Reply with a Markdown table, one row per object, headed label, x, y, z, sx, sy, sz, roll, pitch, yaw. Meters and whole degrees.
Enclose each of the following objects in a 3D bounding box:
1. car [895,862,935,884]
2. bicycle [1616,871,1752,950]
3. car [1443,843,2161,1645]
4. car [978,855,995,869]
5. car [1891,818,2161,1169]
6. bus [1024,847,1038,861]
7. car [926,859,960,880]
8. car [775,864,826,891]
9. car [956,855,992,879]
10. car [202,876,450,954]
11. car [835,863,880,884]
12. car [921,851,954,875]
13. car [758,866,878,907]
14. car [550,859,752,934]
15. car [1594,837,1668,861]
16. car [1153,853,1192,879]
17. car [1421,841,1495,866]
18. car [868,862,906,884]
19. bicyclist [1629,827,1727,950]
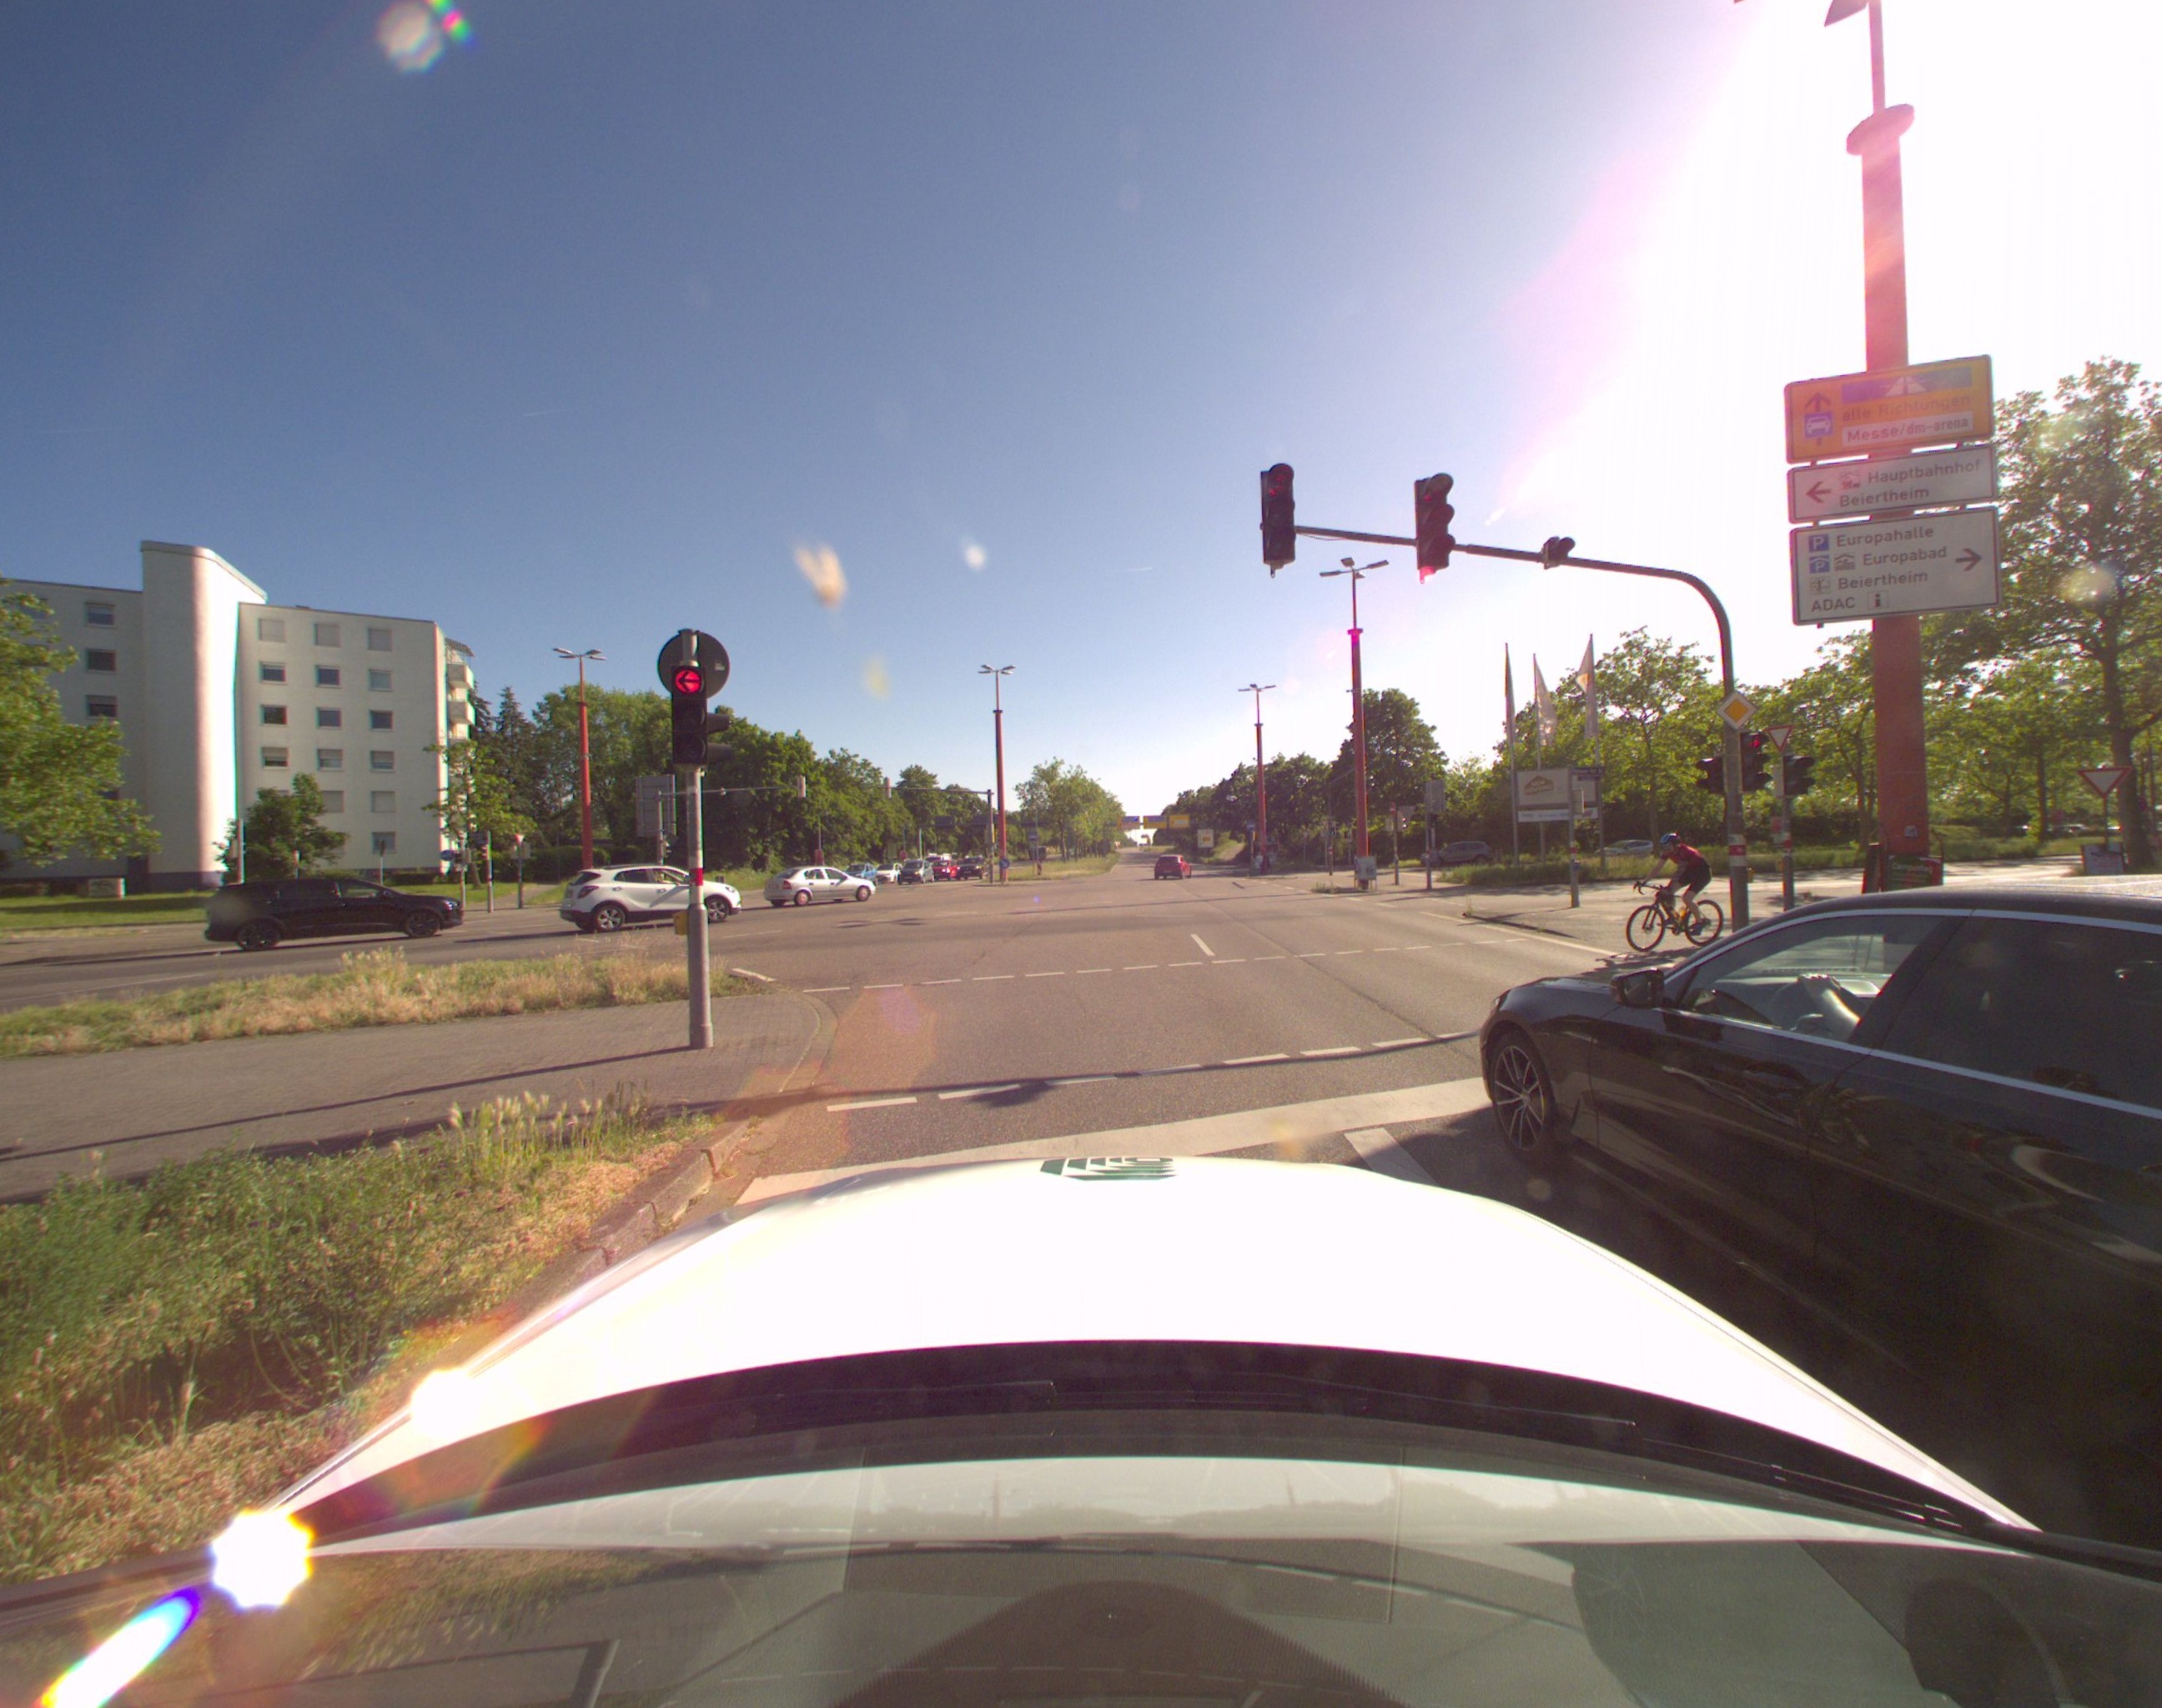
| label | x | y | z | sx | sy | sz | roll | pitch | yaw |
| --- | --- | --- | --- | --- | --- | --- | --- | --- | --- |
| car | -10.600 | 1.187 | 52.306 | 1.733 | 1.243 | 3.613 | -2 | 0 | 1 |
| bicycle | 9.057 | 0.822 | 12.236 | 1.831 | 1.057 | 0.718 | -2 | 0 | -20 |
| car | 2.893 | 0.688 | 2.374 | 1.862 | 1.398 | 4.446 | -2 | 0 | 3 |
| car | -14.549 | 1.232 | 125.354 | 1.986 | 2.013 | 4.002 | -2 | 0 | 2 |
| car | 5.673 | 0.601 | 2.861 | 1.732 | 1.578 | 4.032 | -2 | 0 | 3 |
| bus | -12.241 | -0.069 | 200.068 | 2.482 | 3.238 | 10.004 | -2 | 0 | 2 |
| car | -9.902 | 1.085 | 58.665 | 1.733 | 1.362 | 3.613 | -2 | 0 | 1 |
| car | -17.574 | 1.454 | 51.192 | 1.754 | 1.532 | 3.936 | -2 | 0 | 1 |
| car | -7.395 | 0.887 | 56.606 | 1.812 | 1.508 | 4.002 | -2 | 0 | 2 |
| car | -18.317 | 1.394 | 19.969 | 4.287 | 1.545 | 1.835 | -2 | 0 | -44 |
| car | -14.084 | 1.210 | 51.418 | 1.733 | 1.243 | 3.613 | -2 | 0 | 1 |
| car | -12.558 | 0.792 | 71.488 | 1.886 | 2.026 | 5.224 | -1 | 0 | 1 |
| car | -9.589 | 1.146 | 29.923 | 1.468 | 1.346 | 4.025 | -2 | -1 | 39 |
| car | -11.098 | 1.028 | 21.221 | 1.806 | 1.636 | 4.278 | -2 | 0 | 44 |
| car | 36.814 | -0.322 | 54.583 | 3.978 | 1.467 | 1.680 | -2 | 0 | -7 |
| car | 5.559 | 0.713 | 49.230 | 1.667 | 1.435 | 4.082 | -2 | 0 | 16 |
| car | 25.457 | -0.028 | 55.128 | 4.285 | 1.485 | 1.792 | -2 | 0 | 13 |
| car | -13.667 | 1.317 | 57.528 | 1.733 | 1.411 | 3.613 | -2 | 0 | 1 |
| bicyclist | 8.934 | 0.490 | 12.201 | 0.998 | 1.741 | 0.731 | -2 | 0 | -22 |
